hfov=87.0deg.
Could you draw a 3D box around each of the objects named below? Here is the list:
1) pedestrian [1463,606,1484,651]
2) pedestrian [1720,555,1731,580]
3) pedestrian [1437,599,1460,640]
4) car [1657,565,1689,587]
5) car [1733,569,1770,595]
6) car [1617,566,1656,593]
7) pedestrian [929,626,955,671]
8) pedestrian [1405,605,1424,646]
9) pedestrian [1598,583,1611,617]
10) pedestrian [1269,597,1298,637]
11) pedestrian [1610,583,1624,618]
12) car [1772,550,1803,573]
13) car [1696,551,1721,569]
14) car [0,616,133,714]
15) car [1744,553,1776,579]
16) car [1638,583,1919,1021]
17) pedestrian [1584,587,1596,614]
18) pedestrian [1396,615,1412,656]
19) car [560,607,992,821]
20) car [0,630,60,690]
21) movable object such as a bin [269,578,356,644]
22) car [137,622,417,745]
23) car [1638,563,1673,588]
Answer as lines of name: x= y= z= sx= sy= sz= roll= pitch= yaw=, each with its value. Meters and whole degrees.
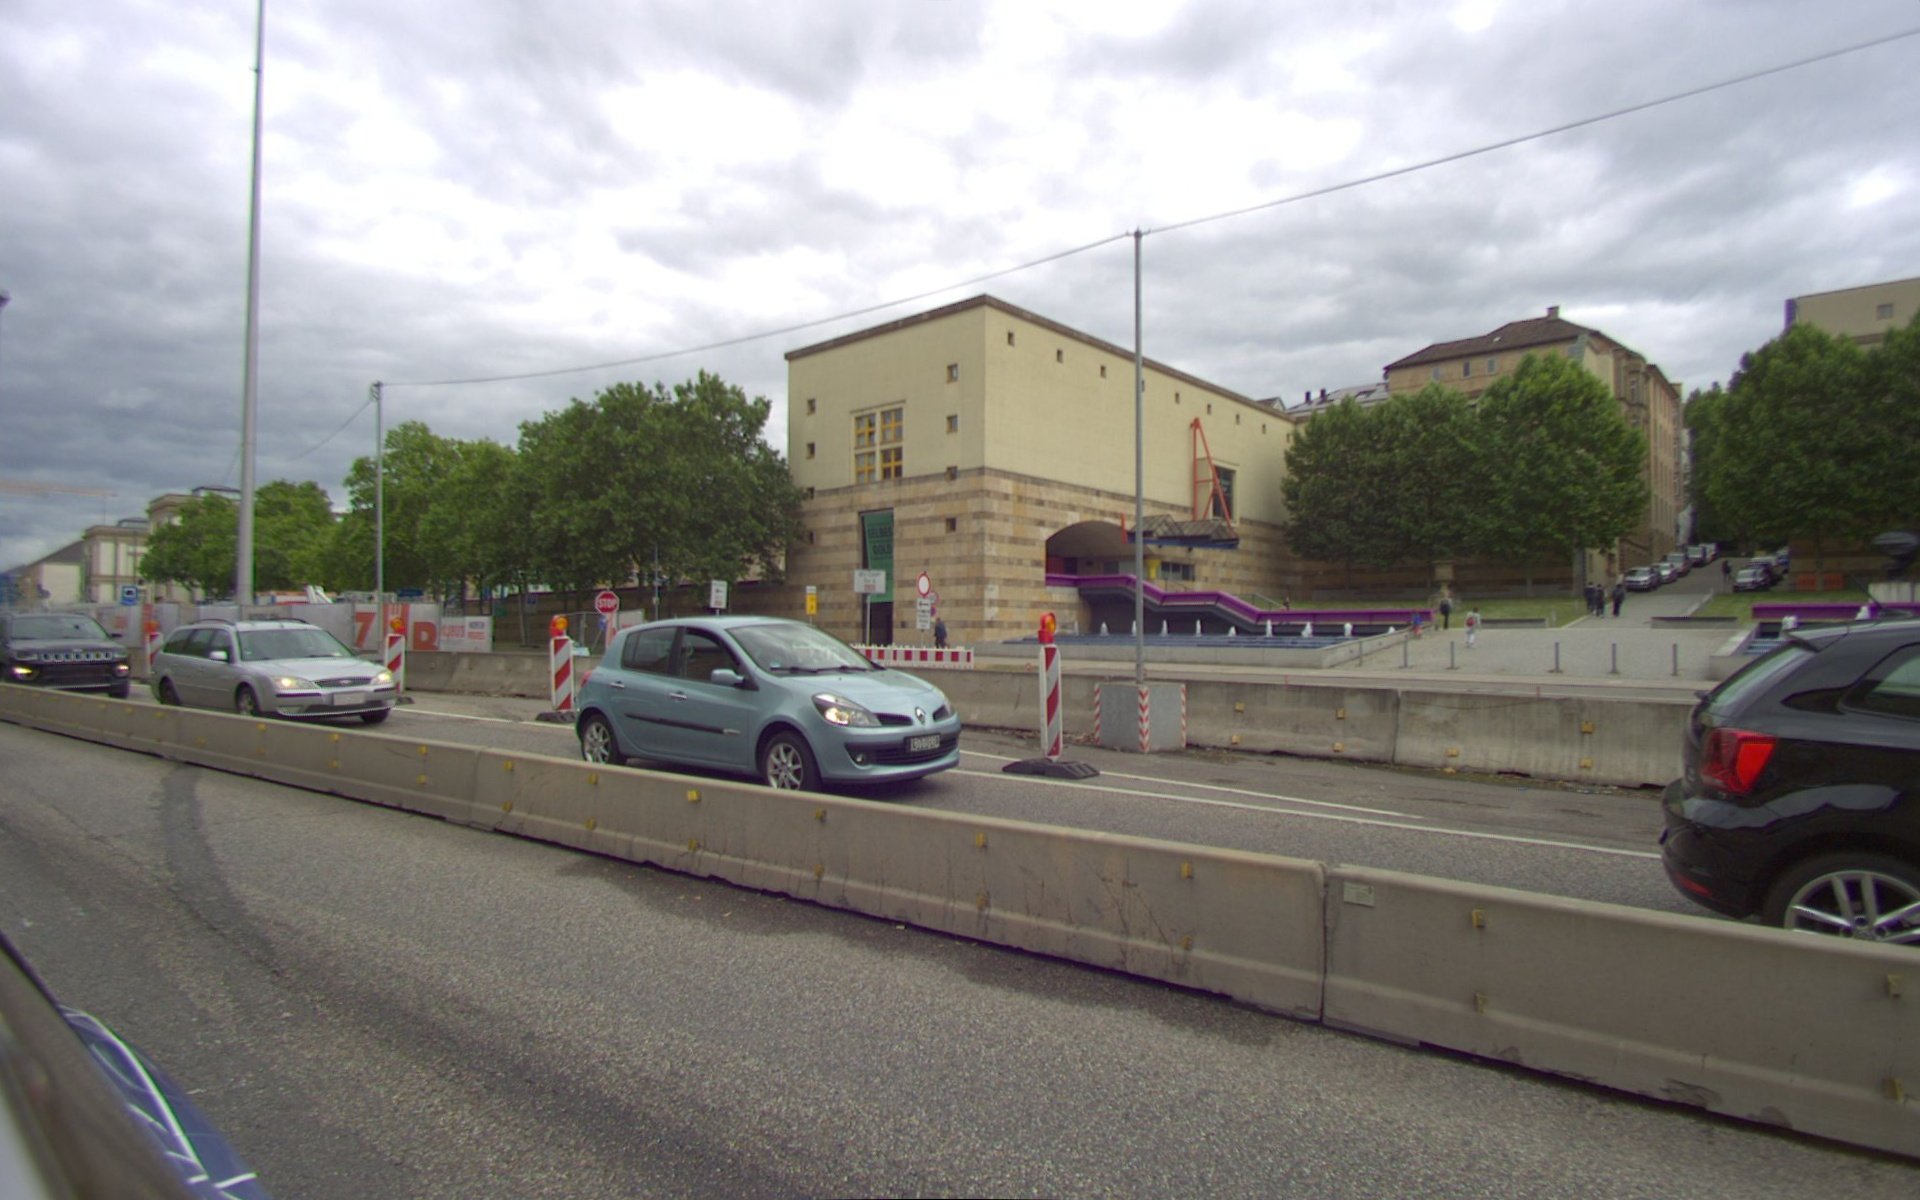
pedestrian: x=19.806 y=1.083 z=39.067 sx=0.520 sy=1.708 sz=0.696 roll=-1 pitch=-1 yaw=10
pedestrian: x=55.501 y=-2.335 z=73.358 sx=0.542 sy=1.798 sz=0.460 roll=-1 pitch=-1 yaw=45
pedestrian: x=22.982 y=0.913 z=47.594 sx=0.804 sy=1.867 sz=0.684 roll=-1 pitch=0 yaw=43
car: x=59.512 y=-1.983 z=84.464 sx=1.610 sy=1.811 sz=3.754 roll=-2 pitch=-1 yaw=43
car: x=49.235 y=-1.134 z=62.906 sx=1.609 sy=1.548 sz=3.756 roll=-1 pitch=0 yaw=41
car: x=48.022 y=-1.460 z=71.798 sx=1.611 sy=1.811 sz=3.752 roll=-2 pitch=-1 yaw=44
pedestrian: x=-0.847 y=2.220 z=46.445 sx=0.815 sy=2.029 sz=0.836 roll=-1 pitch=0 yaw=42
pedestrian: x=19.409 y=1.093 z=43.215 sx=0.526 sy=1.708 sz=0.689 roll=-1 pitch=-1 yaw=41
pedestrian: x=33.316 y=0.002 z=52.327 sx=0.477 sy=1.762 sz=0.638 roll=-1 pitch=-1 yaw=40
pedestrian: x=16.603 y=0.851 z=51.871 sx=0.907 sy=2.029 sz=1.094 roll=-1 pitch=0 yaw=-44
pedestrian: x=33.745 y=0.023 z=51.961 sx=0.477 sy=1.762 sz=0.638 roll=-1 pitch=-1 yaw=40
car: x=67.498 y=-3.126 z=82.498 sx=1.611 sy=1.811 sz=3.752 roll=-1 pitch=0 yaw=44
car: x=76.647 y=-4.081 z=103.582 sx=1.610 sy=1.623 sz=3.754 roll=-2 pitch=-1 yaw=43
car: x=-17.325 y=1.137 z=19.111 sx=4.039 sy=1.633 sz=1.760 roll=-1 pitch=-1 yaw=37
car: x=57.699 y=-2.410 z=72.985 sx=1.609 sy=1.811 sz=3.756 roll=-1 pitch=0 yaw=41
car: x=4.748 y=0.660 z=3.232 sx=4.192 sy=1.465 sz=1.643 roll=-1 pitch=-1 yaw=38
pedestrian: x=34.034 y=0.036 z=54.659 sx=0.477 sy=1.433 sz=0.400 roll=-1 pitch=-1 yaw=40
pedestrian: x=18.748 y=1.503 z=42.719 sx=0.526 sy=1.708 sz=0.338 roll=-1 pitch=-1 yaw=42
car: x=-1.753 y=0.844 z=9.046 sx=3.848 sy=1.518 sz=1.657 roll=-1 pitch=-1 yaw=37
car: x=-22.997 y=1.383 z=24.021 sx=3.928 sy=1.306 sz=1.710 roll=-1 pitch=-1 yaw=37
movable object such as a bin: x=-22.558 y=0.416 z=35.249 sx=3.287 sy=2.202 sz=1.507 roll=-2 pitch=-2 yaw=37
car: x=-9.942 y=1.077 z=14.612 sx=4.694 sy=1.492 sz=1.862 roll=-1 pitch=-1 yaw=36
car: x=53.330 y=-1.818 z=77.568 sx=1.610 sy=1.811 sz=3.754 roll=-2 pitch=-1 yaw=43
